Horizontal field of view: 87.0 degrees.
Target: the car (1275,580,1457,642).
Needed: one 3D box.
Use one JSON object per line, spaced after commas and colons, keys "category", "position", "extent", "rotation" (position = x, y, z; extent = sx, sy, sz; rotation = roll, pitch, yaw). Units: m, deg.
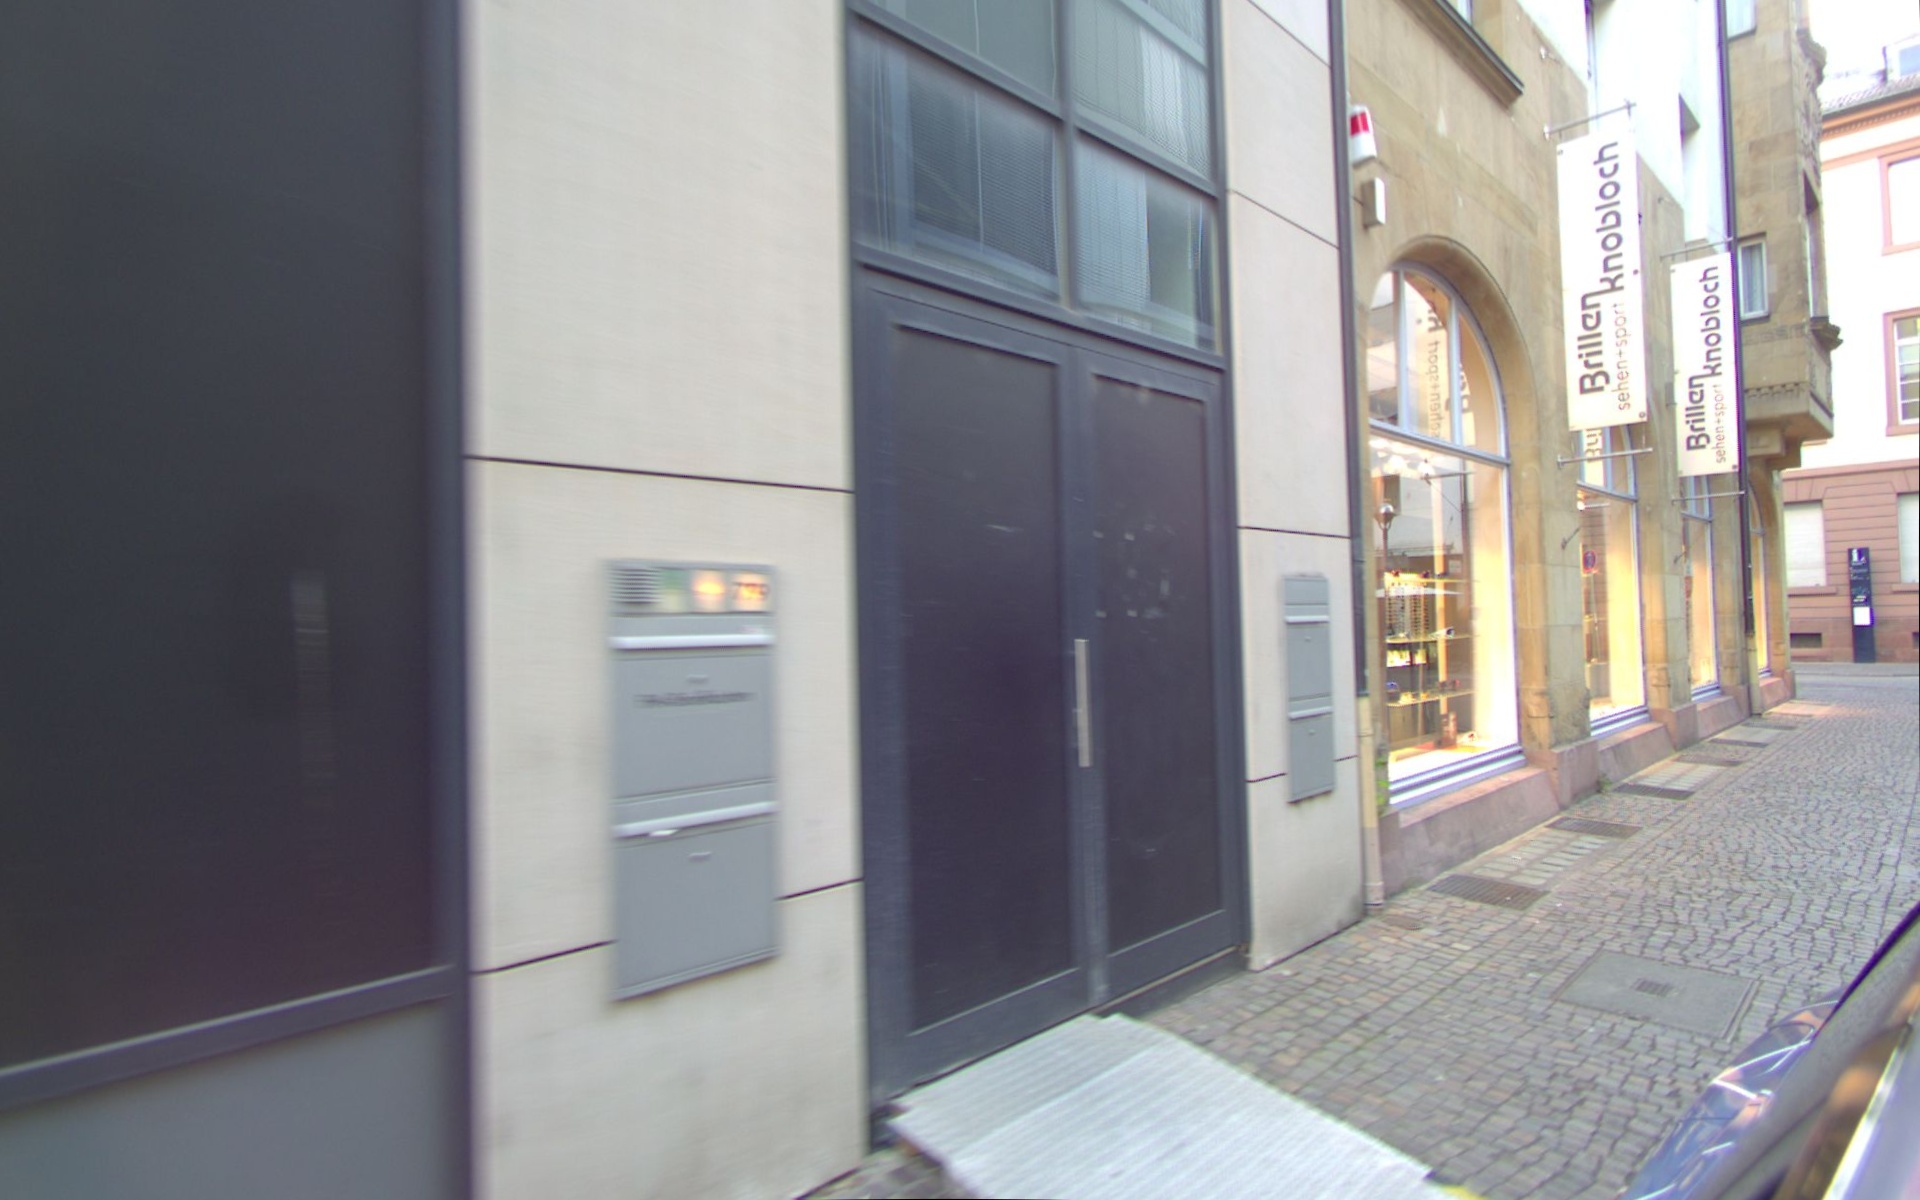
{"category": "car", "position": [10.233, 0.300, 25.716], "extent": [1.622, 1.461, 3.991], "rotation": [0, -1, -42]}
